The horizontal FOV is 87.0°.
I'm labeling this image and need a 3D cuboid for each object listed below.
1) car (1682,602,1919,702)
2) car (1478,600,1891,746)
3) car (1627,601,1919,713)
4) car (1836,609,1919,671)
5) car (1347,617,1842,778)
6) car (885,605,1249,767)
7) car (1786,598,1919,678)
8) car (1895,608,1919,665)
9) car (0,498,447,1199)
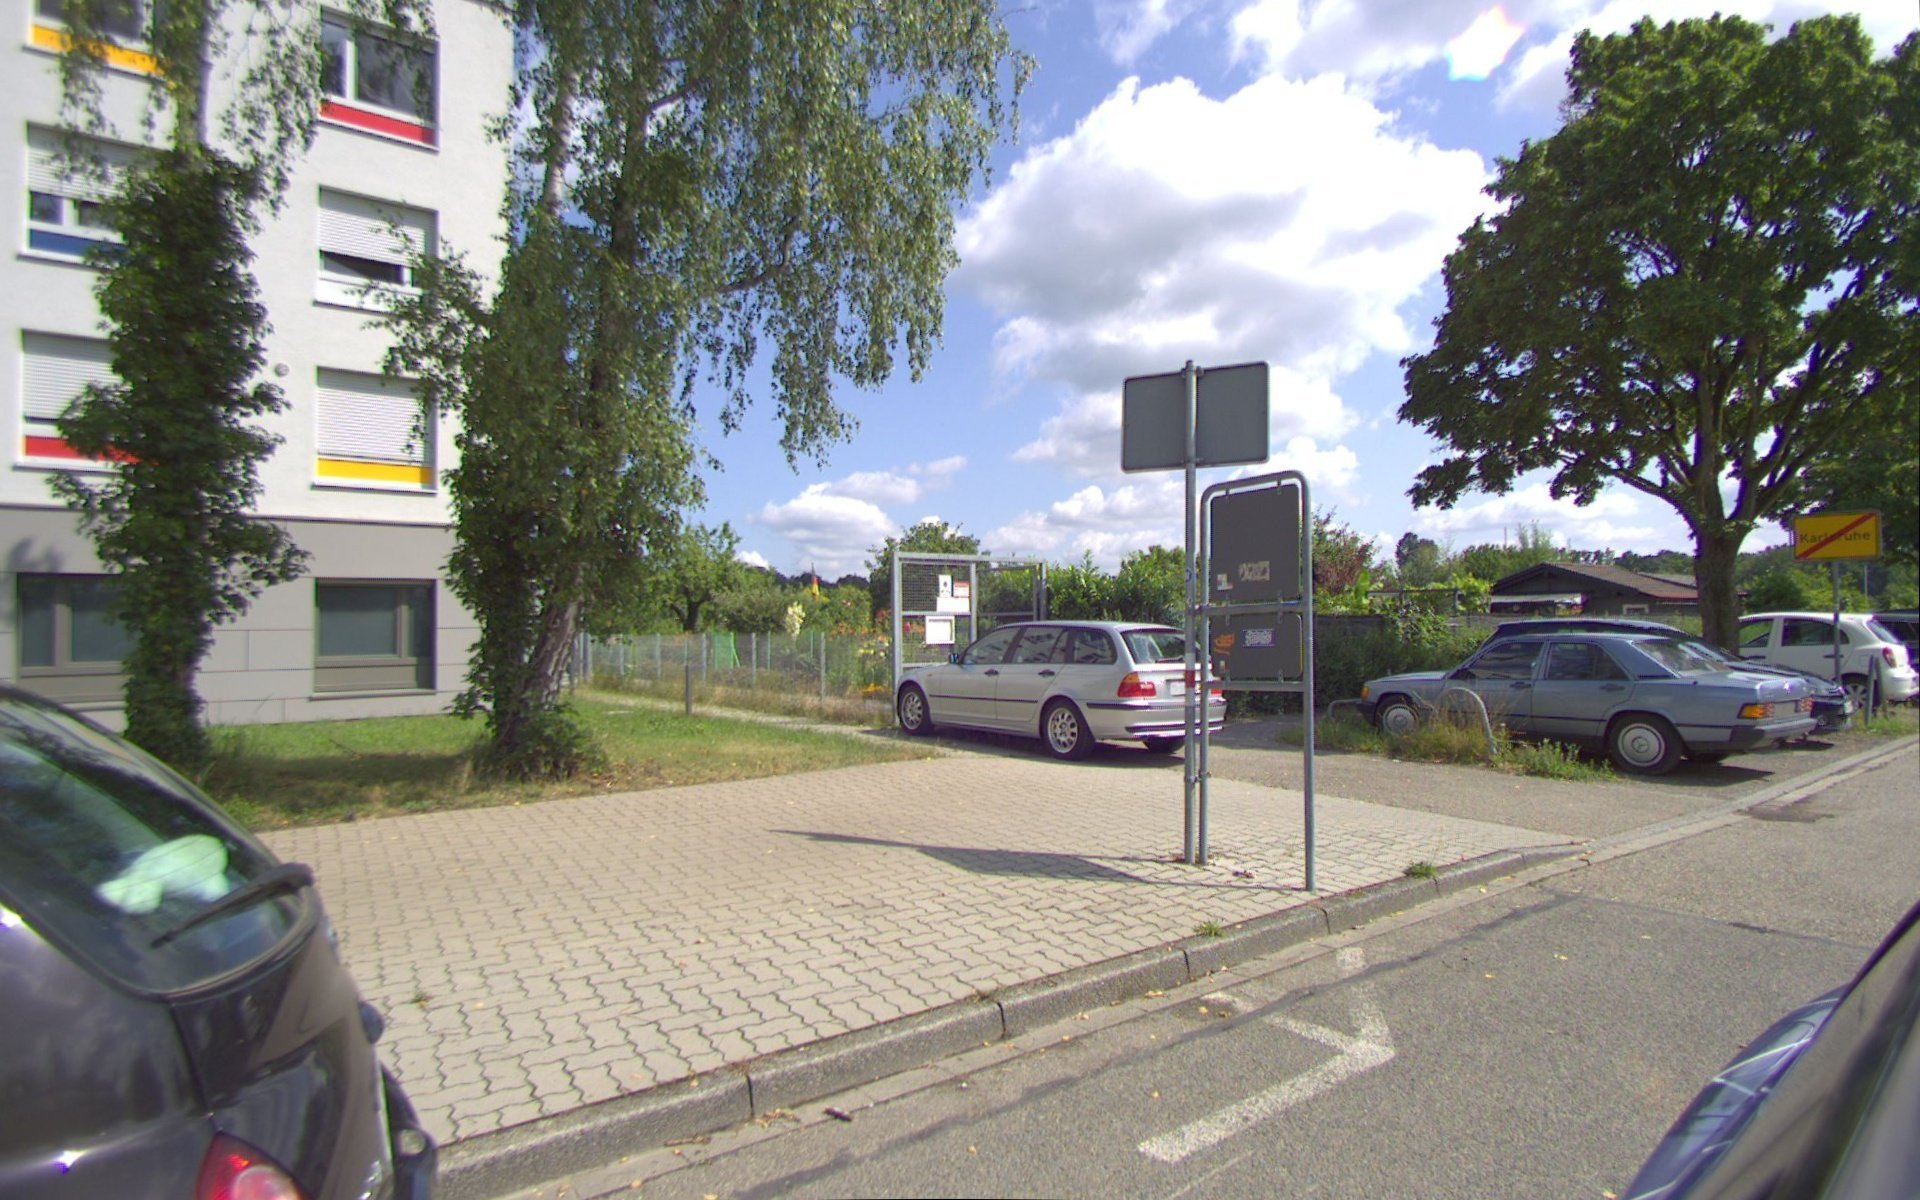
[{"bbox_3d":[15.435,0.877,17.417,1.776,1.599,4.555,0,-3,-40],"label":"car"},{"bbox_3d":[9.171,0.888,13.110,1.834,1.580,3.941,0,-3,-38],"label":"car"},{"bbox_3d":[12.954,0.891,16.070,1.637,1.569,3.580,0,-3,-39],"label":"car"},{"bbox_3d":[24.507,0.937,24.729,1.939,1.511,4.345,0,-3,-37],"label":"car"},{"bbox_3d":[6.732,0.900,11.285,1.684,1.409,4.374,0,-1,-32],"label":"car"},{"bbox_3d":[1.010,0.810,11.583,1.726,1.448,4.252,0,0,-37],"label":"car"},{"bbox_3d":[20.580,0.783,21.645,1.843,1.658,4.167,0,-1,-35],"label":"car"},{"bbox_3d":[28.905,0.961,27.865,1.963,1.615,4.312,0,-3,-37],"label":"car"},{"bbox_3d":[-2.626,0.719,0.712,3.921,1.525,1.669,0,-3,-32],"label":"car"}]
